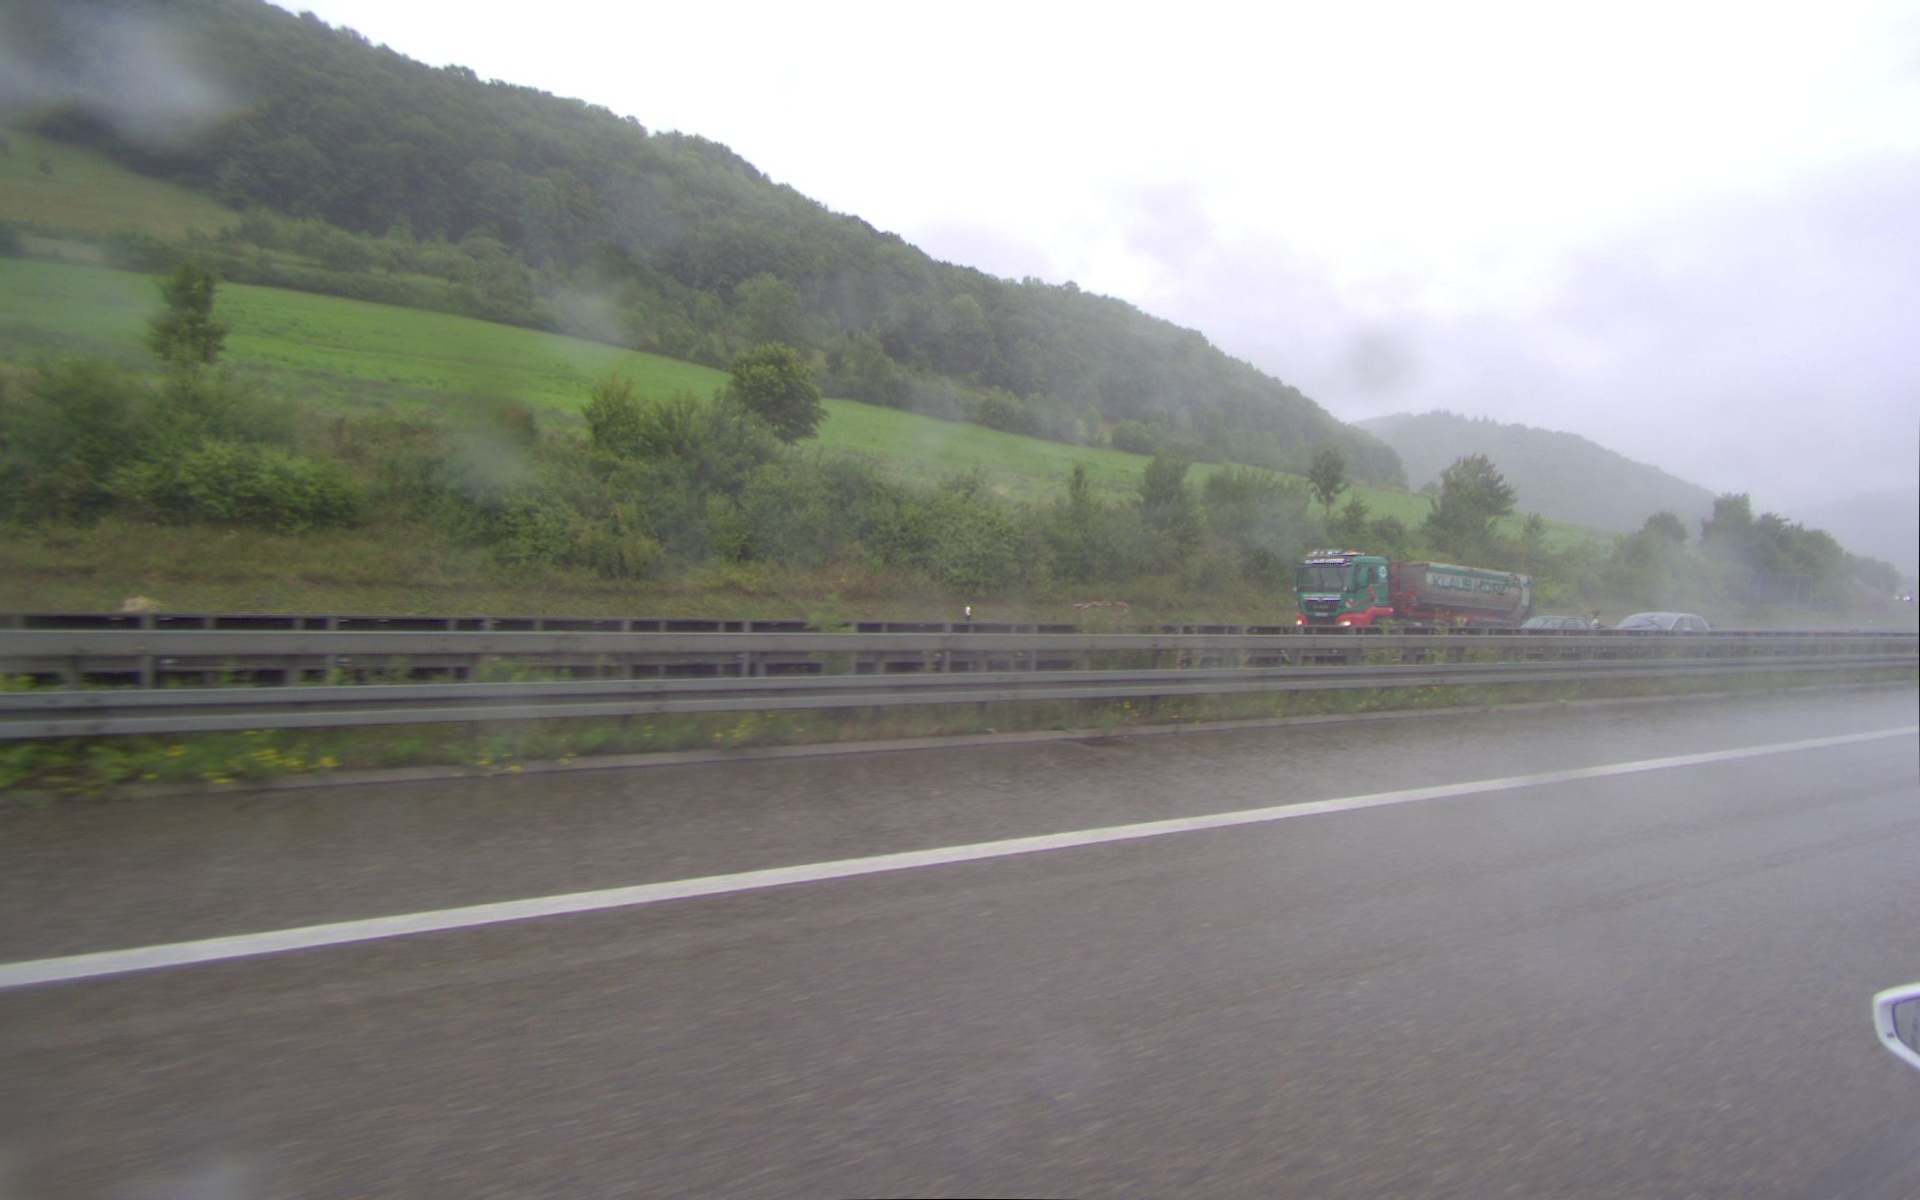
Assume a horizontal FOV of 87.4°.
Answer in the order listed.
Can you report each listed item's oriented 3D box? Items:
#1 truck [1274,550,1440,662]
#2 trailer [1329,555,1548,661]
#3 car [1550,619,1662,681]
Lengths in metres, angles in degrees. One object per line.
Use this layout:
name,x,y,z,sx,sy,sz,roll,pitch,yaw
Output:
truck,13.662,0.223,34.516,5.251,3.590,2.701,1,0,-32
trailer,17.858,0.346,37.210,9.290,3.537,2.705,1,0,-32
car,23.239,1.748,36.092,3.957,2.040,1.903,1,0,-33
